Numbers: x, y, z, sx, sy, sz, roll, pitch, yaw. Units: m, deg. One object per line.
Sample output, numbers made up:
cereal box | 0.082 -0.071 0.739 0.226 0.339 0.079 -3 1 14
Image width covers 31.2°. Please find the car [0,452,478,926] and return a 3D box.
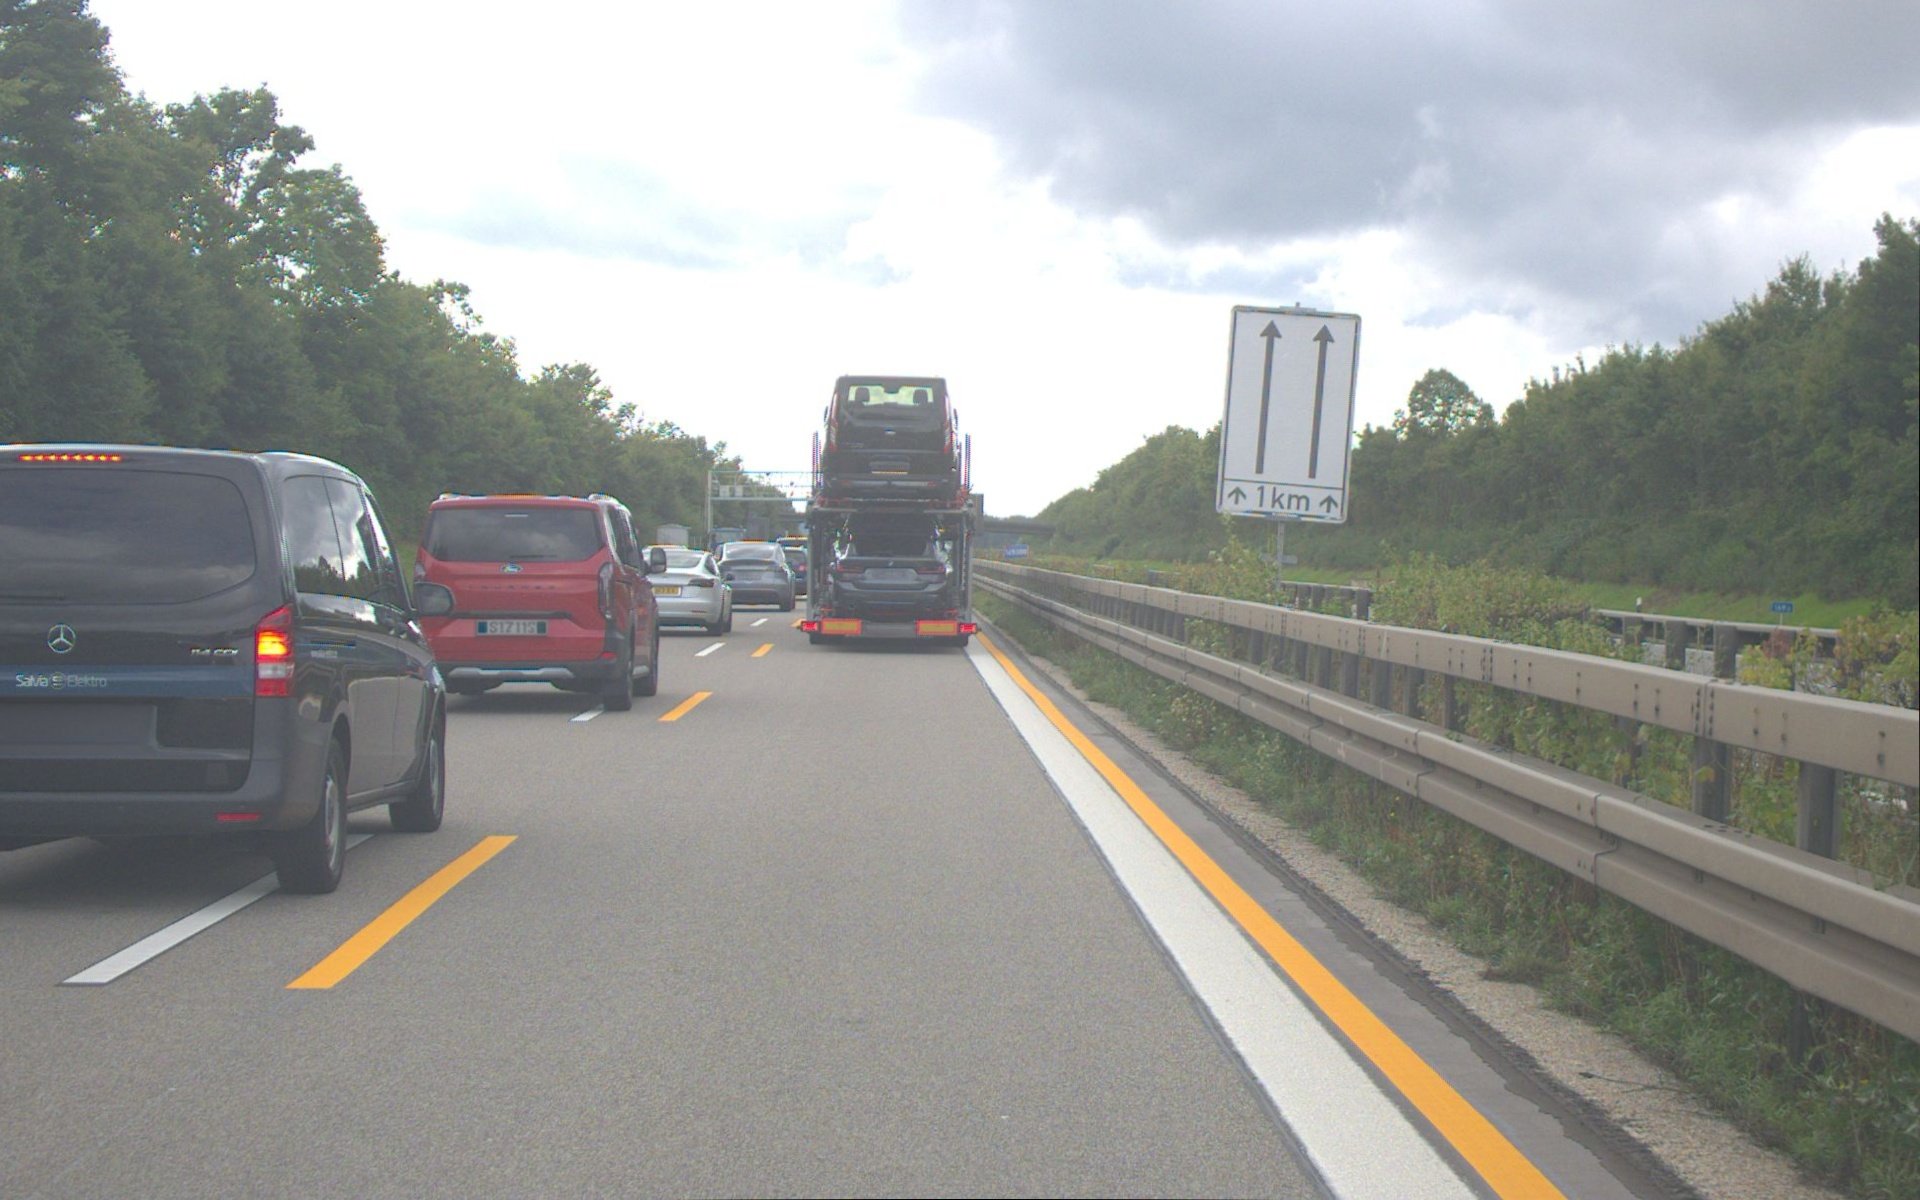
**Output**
car | -3.604 0.304 16.131 1.993 1.837 5.610 0 1 -1

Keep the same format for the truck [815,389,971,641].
truck | -1.123 -1.438 59.223 2.515 4.091 5.685 1 1 -1

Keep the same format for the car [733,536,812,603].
car | -5.023 -0.834 92.748 2.031 1.751 4.578 0 1 -2

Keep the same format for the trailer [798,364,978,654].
trailer | -1.075 -1.376 54.500 2.515 4.091 11.114 1 1 -1

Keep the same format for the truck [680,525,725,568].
truck | -16.720 -3.492 223.530 2.490 2.708 6.667 1 1 -1

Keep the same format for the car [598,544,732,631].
car | -4.989 -0.238 58.629 2.031 1.426 4.578 0 1 -2

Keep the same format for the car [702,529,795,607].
car | -4.904 -0.755 80.163 2.031 1.751 4.578 0 1 -2

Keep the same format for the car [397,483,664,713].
car | -3.972 -0.053 32.502 2.031 2.007 4.578 0 1 -1
